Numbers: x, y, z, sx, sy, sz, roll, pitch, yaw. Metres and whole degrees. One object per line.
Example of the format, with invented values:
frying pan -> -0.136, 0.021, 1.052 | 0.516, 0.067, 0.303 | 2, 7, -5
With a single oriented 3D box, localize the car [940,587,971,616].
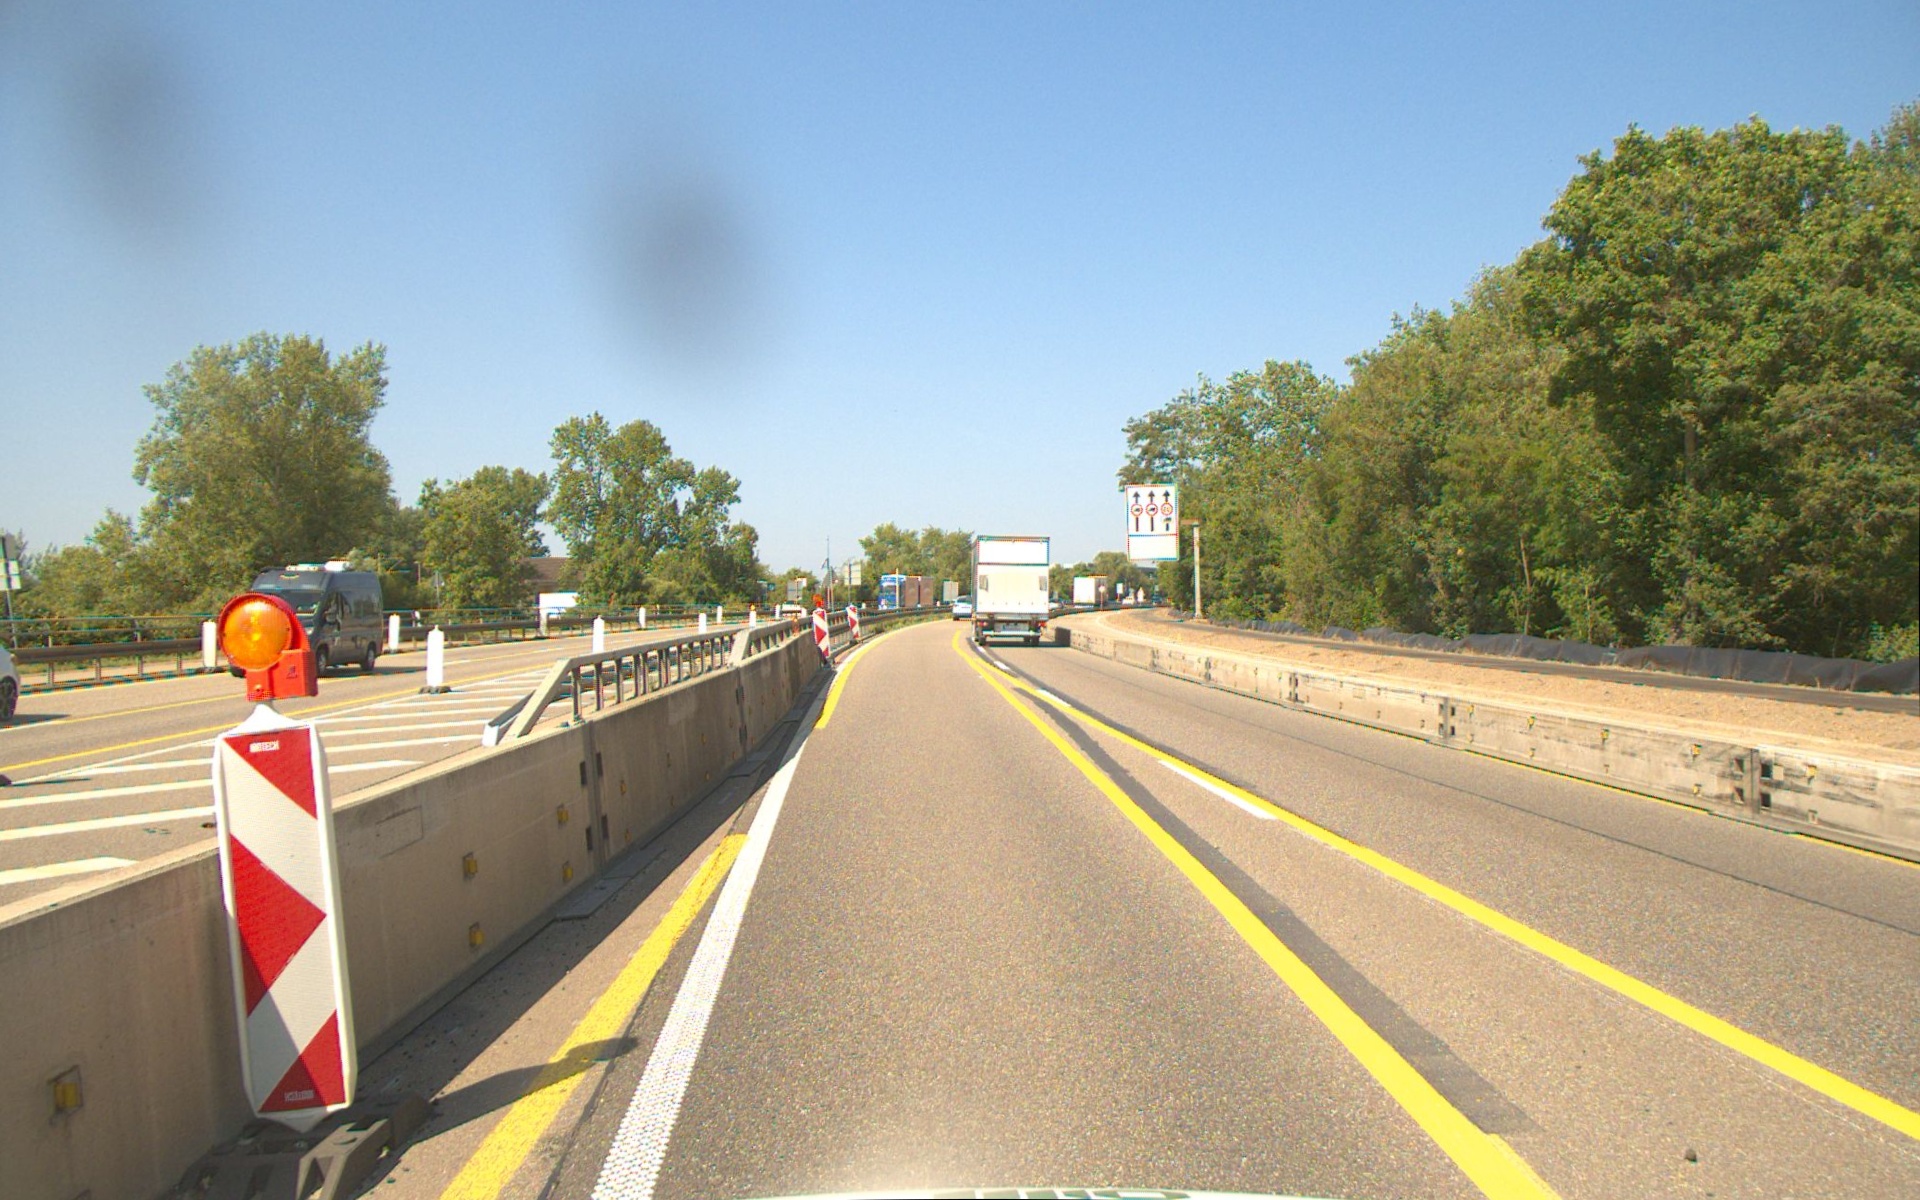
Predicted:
car -> -0.285, 0.065, 110.566 | 1.778, 1.807, 4.002 | -2, 0, 3

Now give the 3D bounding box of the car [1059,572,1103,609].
car -> 14.900, -1.182, 202.351 | 4.117, 4.326, 10.671 | -2, 0, 10

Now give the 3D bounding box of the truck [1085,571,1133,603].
truck -> 21.389, -1.944, 236.538 | 4.133, 4.341, 10.243 | -2, 0, 20

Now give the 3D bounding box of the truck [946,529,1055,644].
truck -> 1.216, -0.431, 54.554 | 2.584, 3.487, 7.222 | 1, 0, -7

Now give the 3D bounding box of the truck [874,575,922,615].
truck -> -6.542, -0.553, 176.394 | 2.973, 4.163, 10.633 | 0, 0, 10

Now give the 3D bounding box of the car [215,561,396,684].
car -> -15.507, 0.491, 39.586 | 2.102, 2.707, 5.545 | -1, 0, 0

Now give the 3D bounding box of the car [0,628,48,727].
car -> -14.847, 1.152, 23.236 | 1.684, 1.421, 4.518 | 0, 0, -2

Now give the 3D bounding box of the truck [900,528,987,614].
truck -> -0.878, -1.332, 79.390 | 3.324, 3.840, 7.222 | -2, 0, -7

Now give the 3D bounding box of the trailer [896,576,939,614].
trailer -> -4.750, -0.590, 186.486 | 2.973, 4.163, 9.797 | 0, 0, 10

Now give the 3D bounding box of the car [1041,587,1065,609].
car -> 9.437, -0.204, 167.653 | 1.951, 2.049, 4.004 | -2, 0, 8
